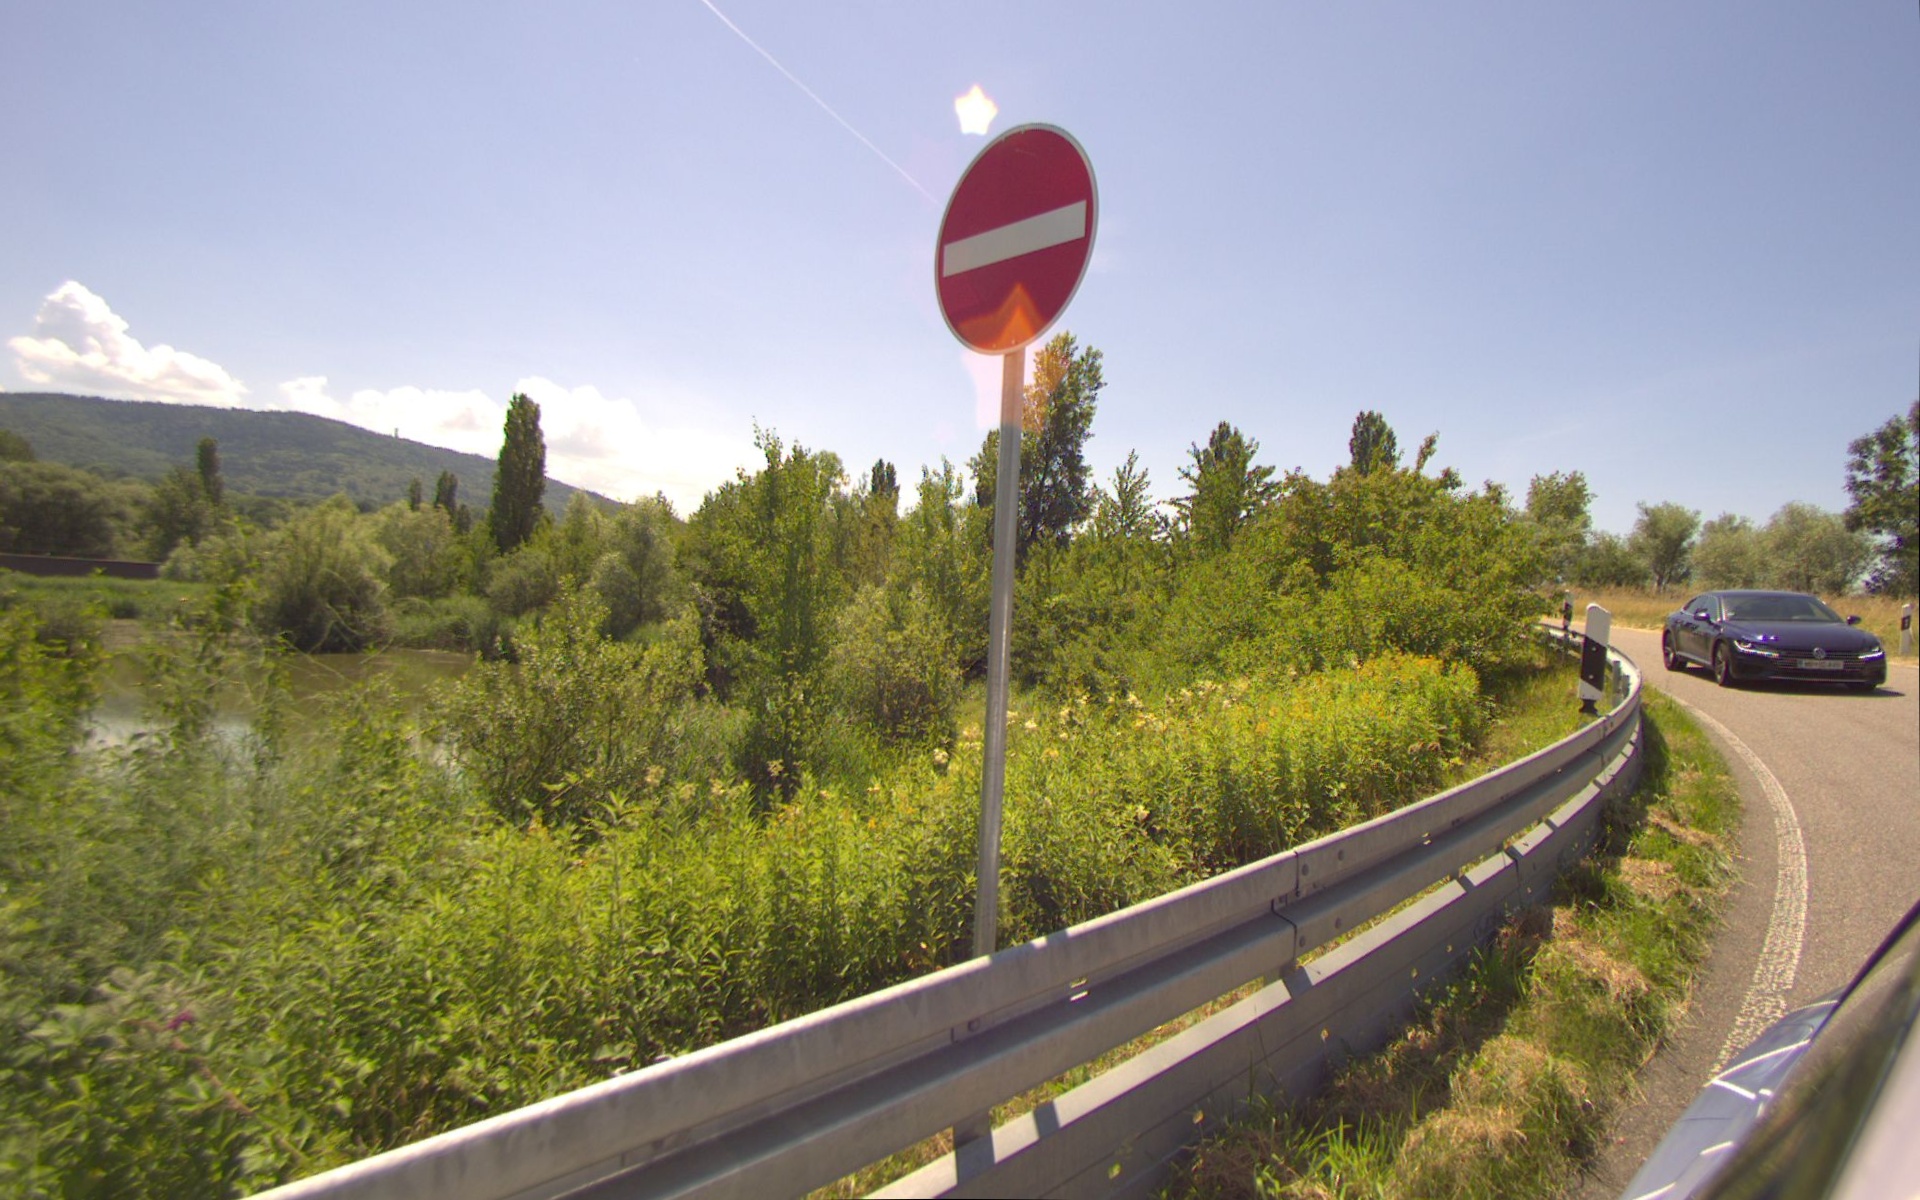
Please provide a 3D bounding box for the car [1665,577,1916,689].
[{"bbox_3d":[12.756,0.402,15.912,1.823,1.448,4.499,-1,1,23],"label":"car"}]
